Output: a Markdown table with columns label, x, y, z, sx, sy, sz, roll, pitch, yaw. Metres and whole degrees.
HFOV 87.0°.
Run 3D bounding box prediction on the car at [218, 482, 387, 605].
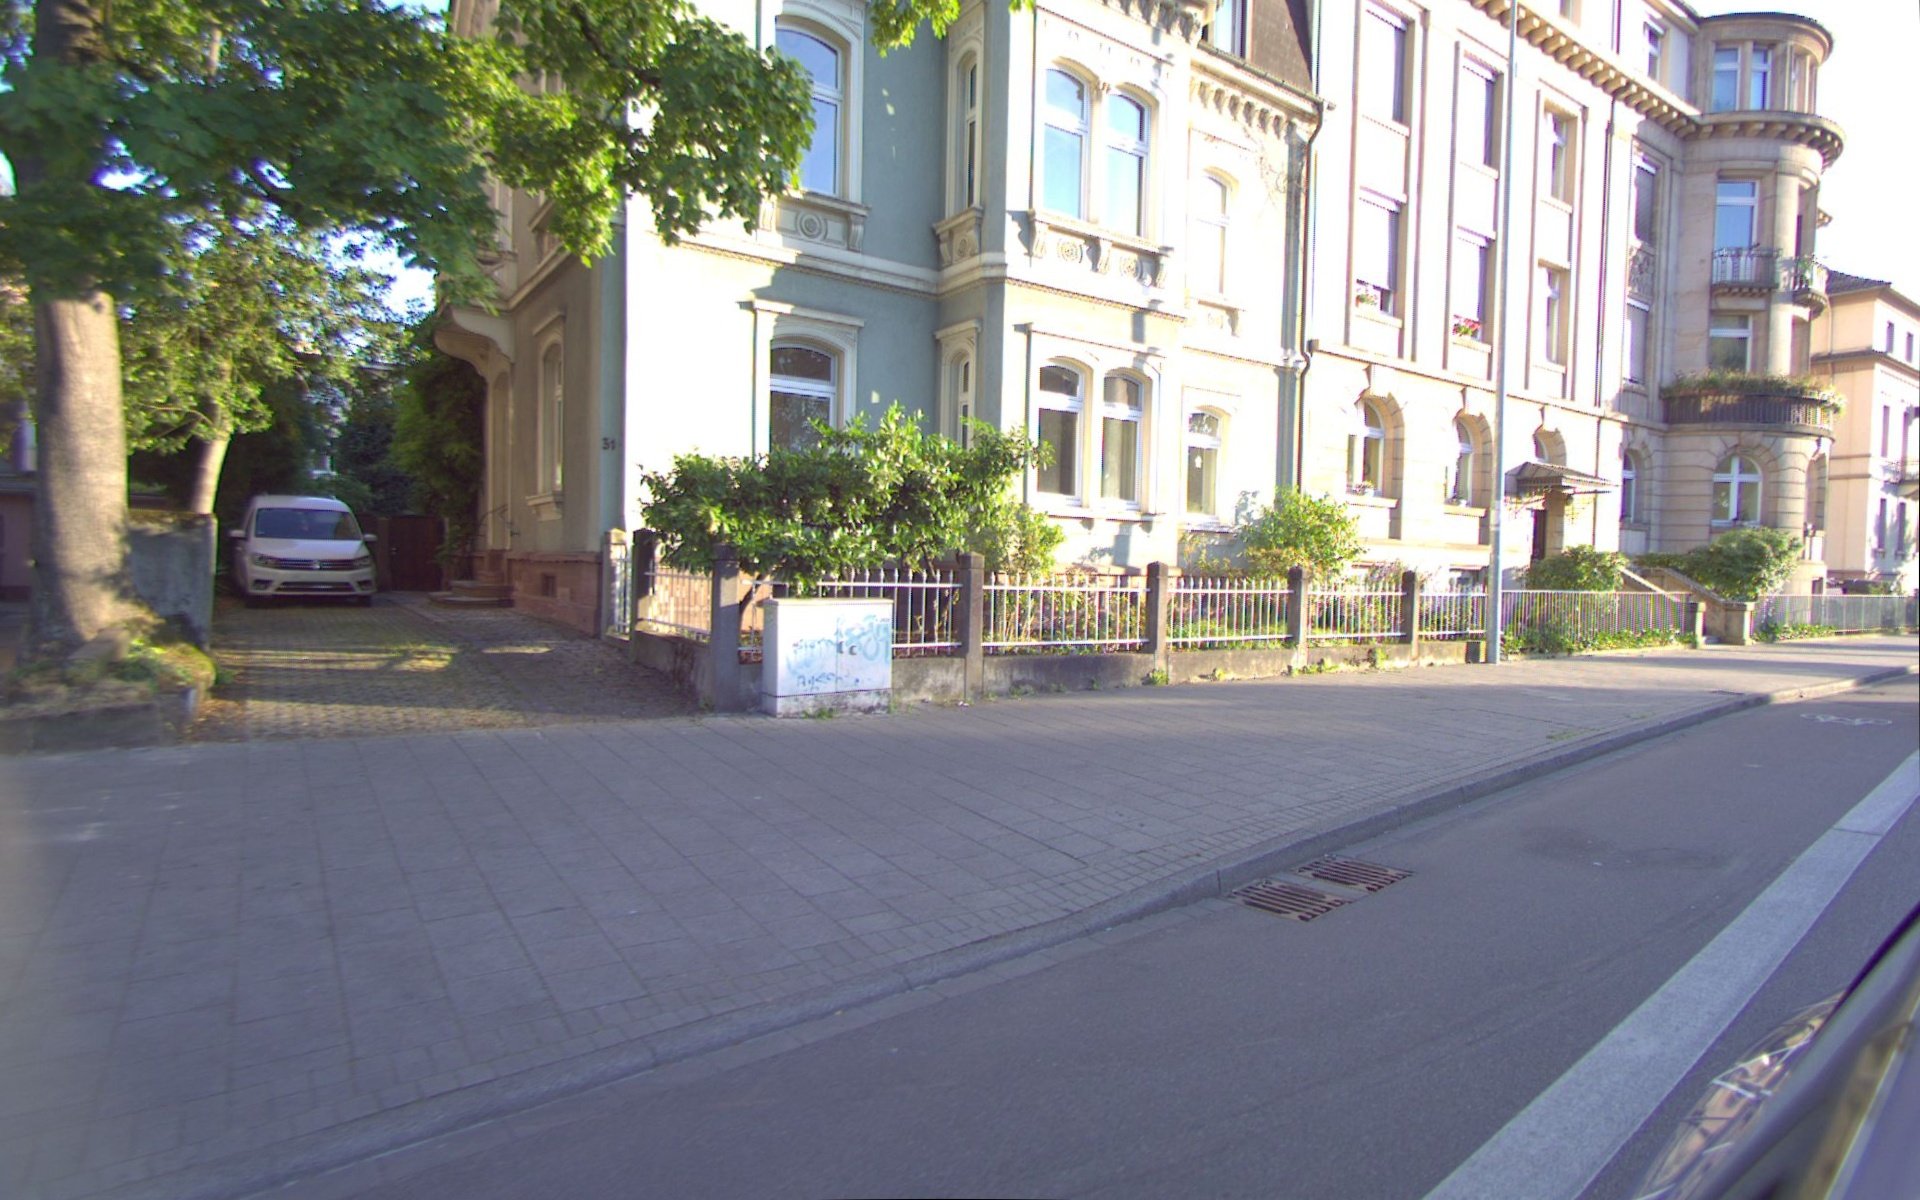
| label | x | y | z | sx | sy | sz | roll | pitch | yaw |
| --- | --- | --- | --- | --- | --- | --- | --- | --- | --- |
| car | -11.181 | -0.980 | 17.058 | 1.793 | 1.778 | 4.518 | 1 | 3 | -41 |

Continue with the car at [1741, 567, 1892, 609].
| label | x | y | z | sx | sy | sz | roll | pitch | yaw |
| --- | --- | --- | --- | --- | --- | --- | --- | --- | --- |
| car | 32.974 | -0.485 | 39.051 | 1.901 | 1.499 | 4.101 | 0 | 2 | -35 |
